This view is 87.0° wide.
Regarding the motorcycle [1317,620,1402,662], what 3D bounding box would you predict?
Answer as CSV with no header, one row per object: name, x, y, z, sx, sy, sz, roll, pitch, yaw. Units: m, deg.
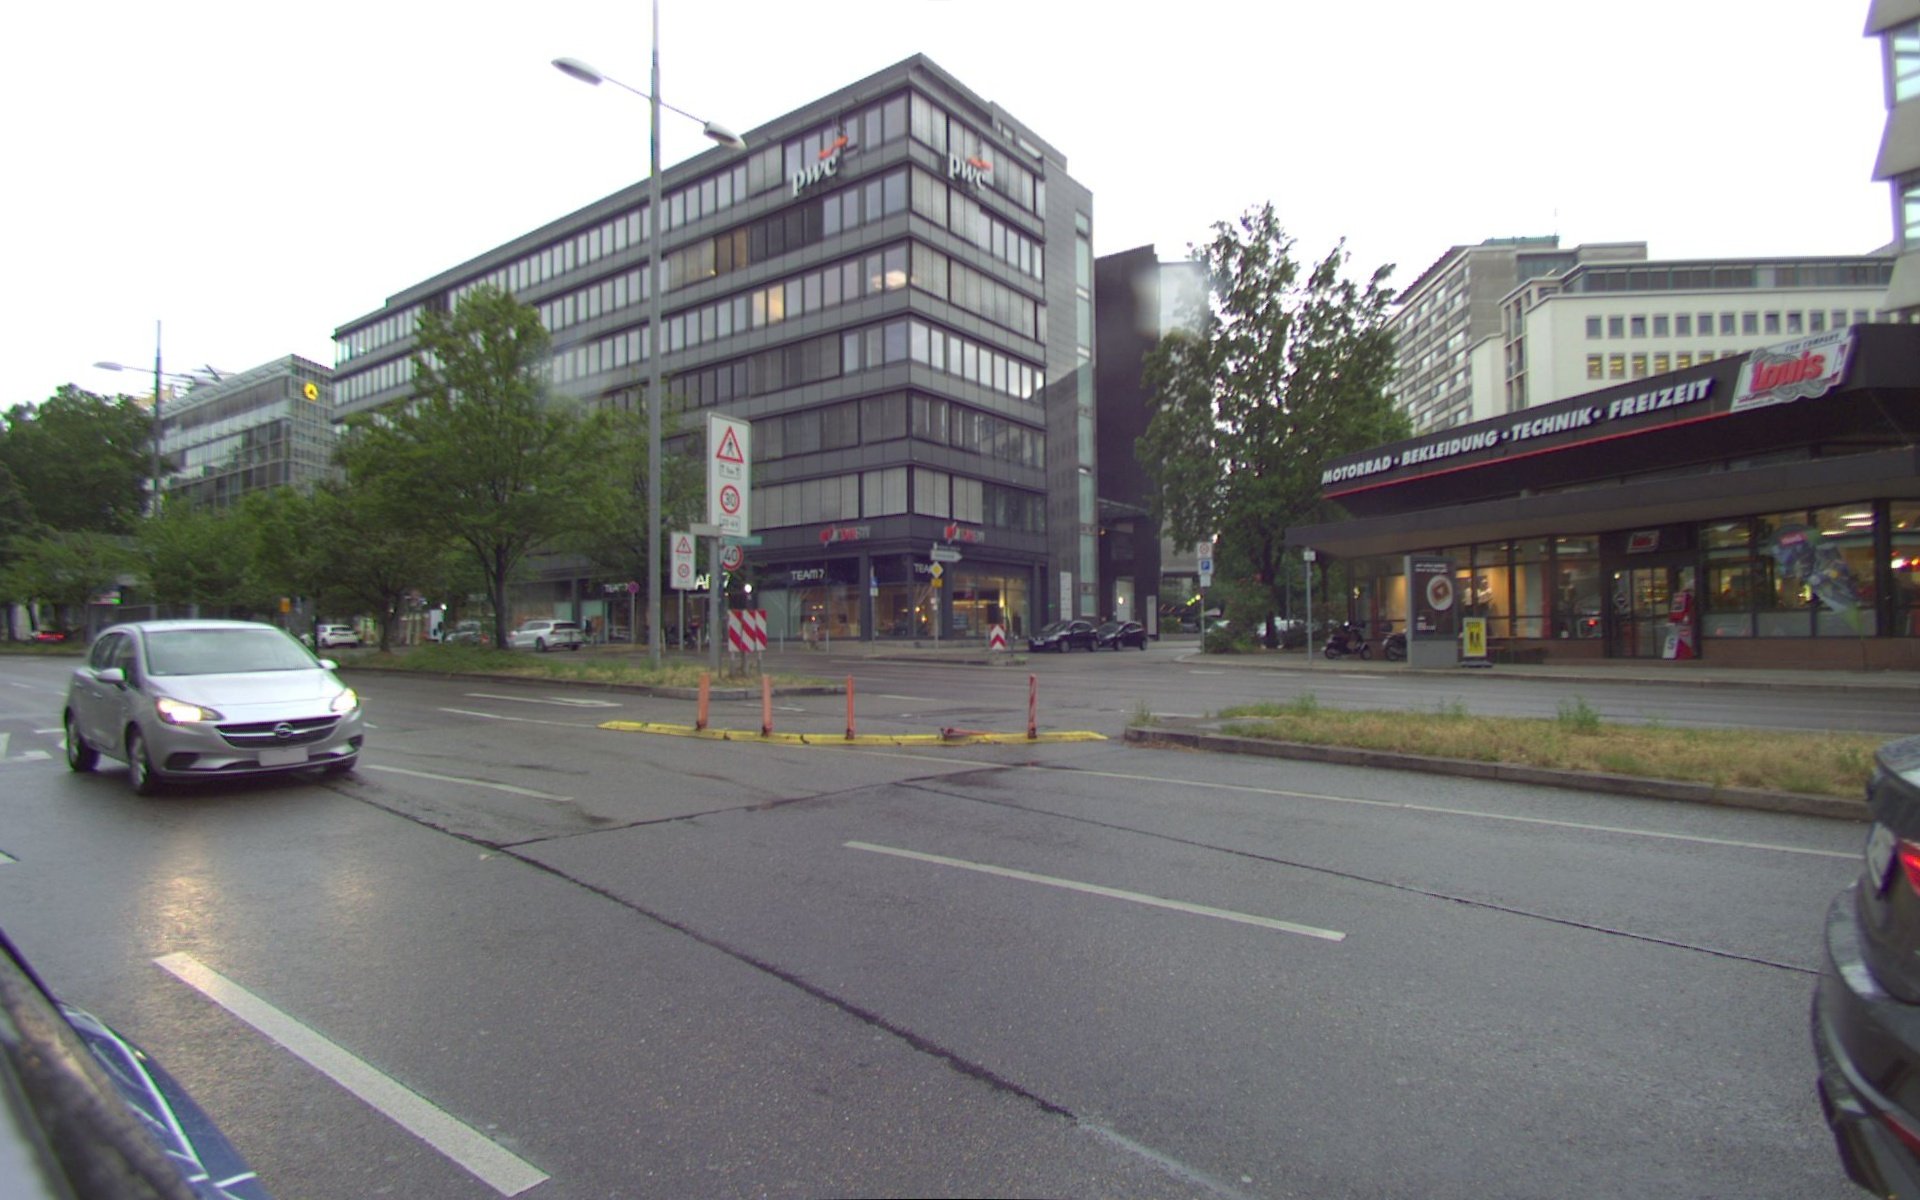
motorcycle,13.556,1.385,34.379,2.773,1.343,0.725,-1,-1,-15

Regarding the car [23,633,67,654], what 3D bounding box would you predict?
car,-73.833,3.490,81.637,4.478,1.556,1.973,-2,-2,40

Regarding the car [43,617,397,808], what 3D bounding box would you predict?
car,-7.213,0.923,9.746,3.866,1.454,1.830,-2,-1,39

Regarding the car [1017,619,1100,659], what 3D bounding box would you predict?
car,4.491,1.713,45.650,1.996,1.652,3.951,-1,-1,36

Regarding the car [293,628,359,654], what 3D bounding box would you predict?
car,-38.261,2.484,61.063,4.298,1.455,1.794,-2,-1,34

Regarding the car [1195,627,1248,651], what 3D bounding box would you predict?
car,15.934,2.337,61.548,1.843,1.298,3.951,-1,-1,36

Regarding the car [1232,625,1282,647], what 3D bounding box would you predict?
car,19.388,2.321,65.960,1.844,1.298,3.950,-1,-1,37

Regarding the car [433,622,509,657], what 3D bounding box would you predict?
car,-24.880,1.981,51.403,4.304,1.673,1.791,-2,-1,38

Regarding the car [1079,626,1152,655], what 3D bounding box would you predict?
car,7.605,1.941,49.267,1.844,1.298,3.950,-1,-1,37

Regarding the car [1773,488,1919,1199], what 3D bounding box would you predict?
car,3.221,0.567,0.523,4.281,1.446,1.918,-2,-2,38

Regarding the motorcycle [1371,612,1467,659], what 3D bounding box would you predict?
motorcycle,14.274,1.086,31.451,2.843,1.384,0.806,-1,-1,-16

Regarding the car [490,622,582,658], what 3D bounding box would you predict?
car,-20.012,1.868,47.669,4.764,1.496,1.792,-2,2,37

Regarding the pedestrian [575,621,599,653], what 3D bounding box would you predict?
pedestrian,-19.797,1.973,53.727,0.964,1.650,0.776,-2,-2,36

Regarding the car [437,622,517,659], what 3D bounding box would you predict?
car,-21.556,1.802,45.132,3.685,1.585,1.767,-2,-2,37

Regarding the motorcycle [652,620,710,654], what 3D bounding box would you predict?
motorcycle,-12.414,1.651,45.005,2.344,1.404,0.857,-1,2,10
